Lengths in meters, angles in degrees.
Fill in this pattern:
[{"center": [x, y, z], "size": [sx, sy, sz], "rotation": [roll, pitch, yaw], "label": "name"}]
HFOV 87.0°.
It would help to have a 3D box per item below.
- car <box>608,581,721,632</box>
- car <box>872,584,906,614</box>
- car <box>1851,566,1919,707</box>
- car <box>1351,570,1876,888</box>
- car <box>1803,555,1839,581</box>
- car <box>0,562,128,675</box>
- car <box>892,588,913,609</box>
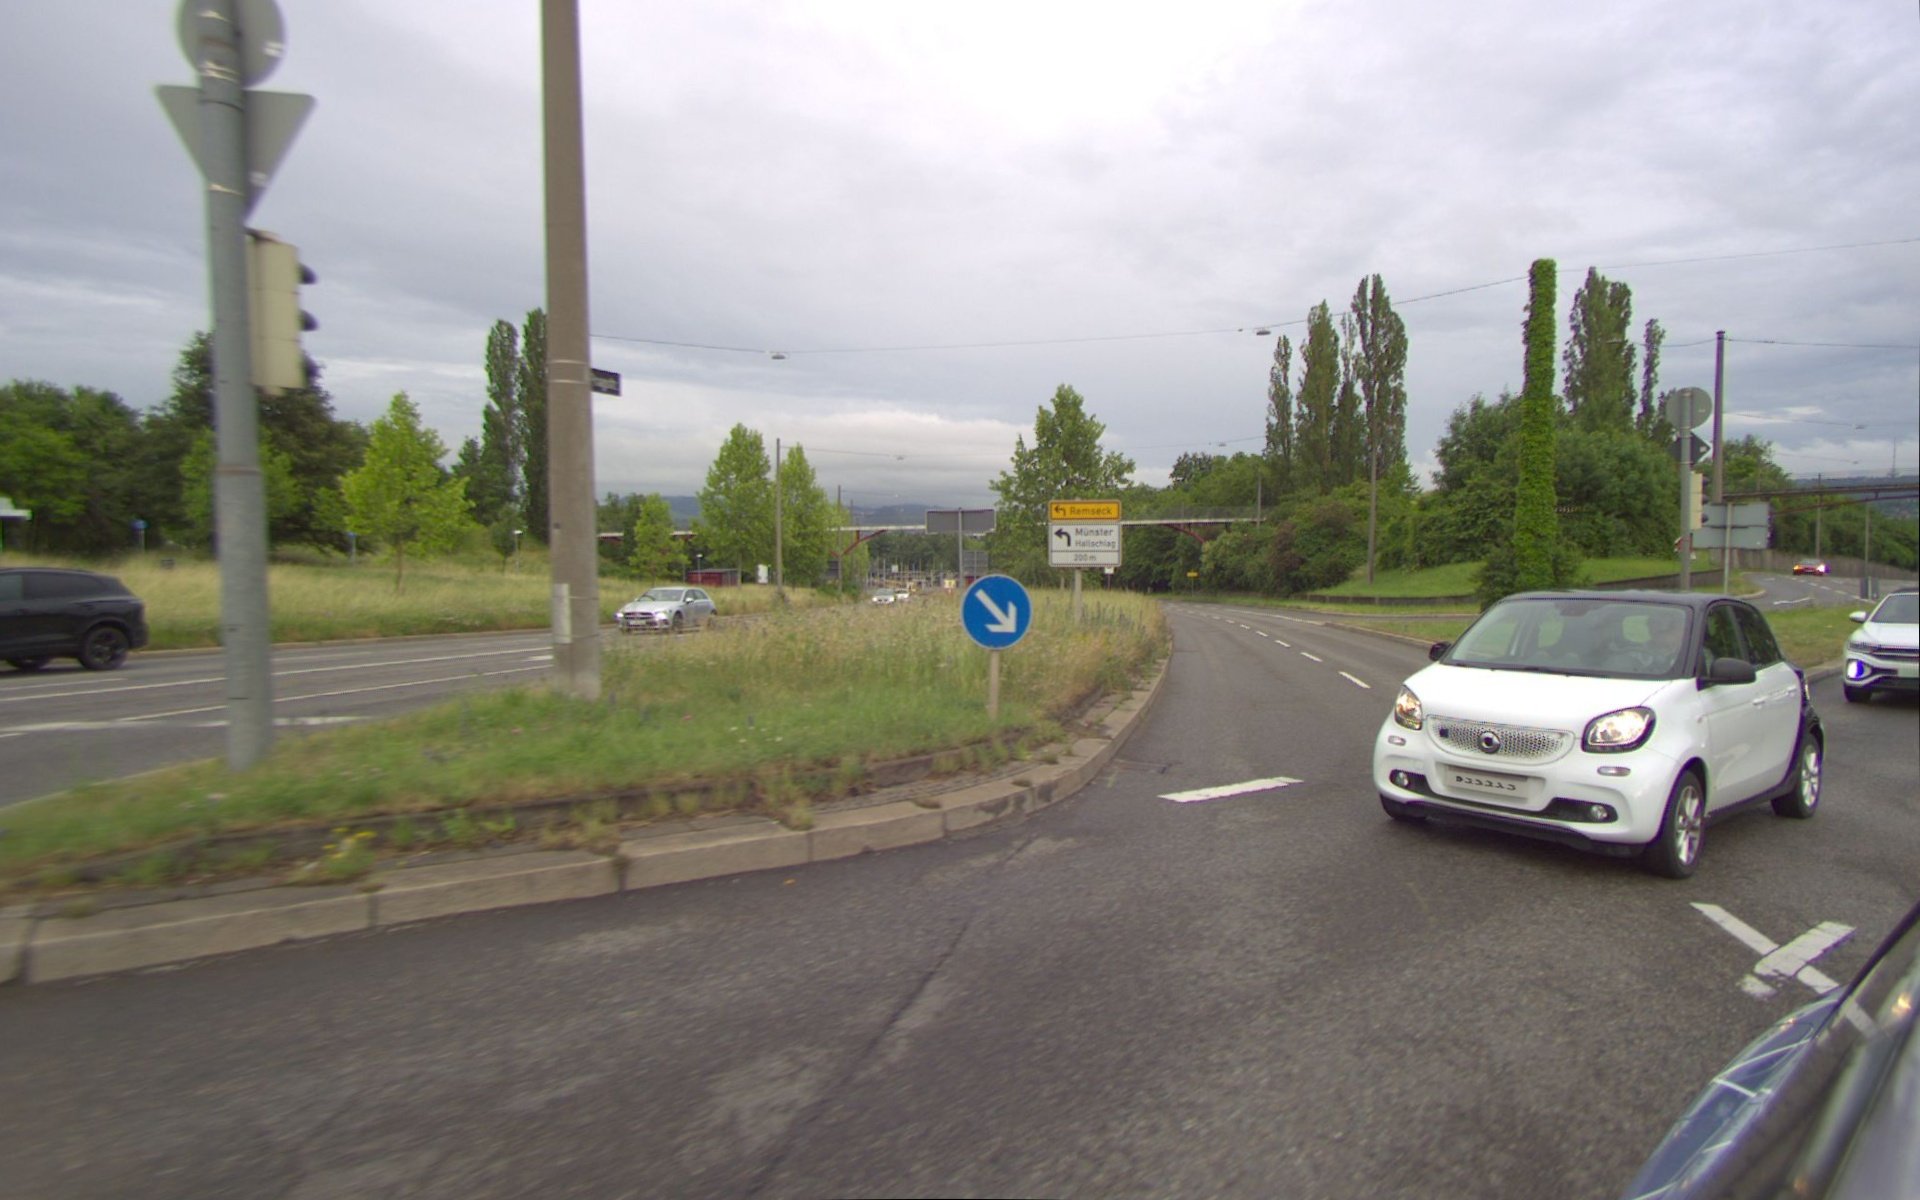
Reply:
[{"center": [-8.994, 0.142, 31.110], "size": [1.720, 1.445, 3.988], "rotation": [1, 1, 11], "label": "car"}, {"center": [-5.019, -0.121, 71.826], "size": [1.963, 2.039, 3.998], "rotation": [0, 1, 2], "label": "car"}, {"center": [13.710, 0.424, 13.795], "size": [3.754, 1.558, 1.842], "rotation": [-6, 5, -40], "label": "car"}, {"center": [4.607, 0.608, 6.898], "size": [4.150, 1.541, 1.726], "rotation": [0, 1, -38], "label": "car"}, {"center": [71.813, -2.638, 84.467], "size": [1.988, 2.039, 3.948], "rotation": [1, 1, 36], "label": "car"}, {"center": [-15.058, 0.274, 15.099], "size": [1.695, 1.663, 3.872], "rotation": [0, 1, 13], "label": "car"}, {"center": [-5.745, -0.181, 101.761], "size": [1.804, 1.972, 3.998], "rotation": [0, 1, 2], "label": "car"}]
